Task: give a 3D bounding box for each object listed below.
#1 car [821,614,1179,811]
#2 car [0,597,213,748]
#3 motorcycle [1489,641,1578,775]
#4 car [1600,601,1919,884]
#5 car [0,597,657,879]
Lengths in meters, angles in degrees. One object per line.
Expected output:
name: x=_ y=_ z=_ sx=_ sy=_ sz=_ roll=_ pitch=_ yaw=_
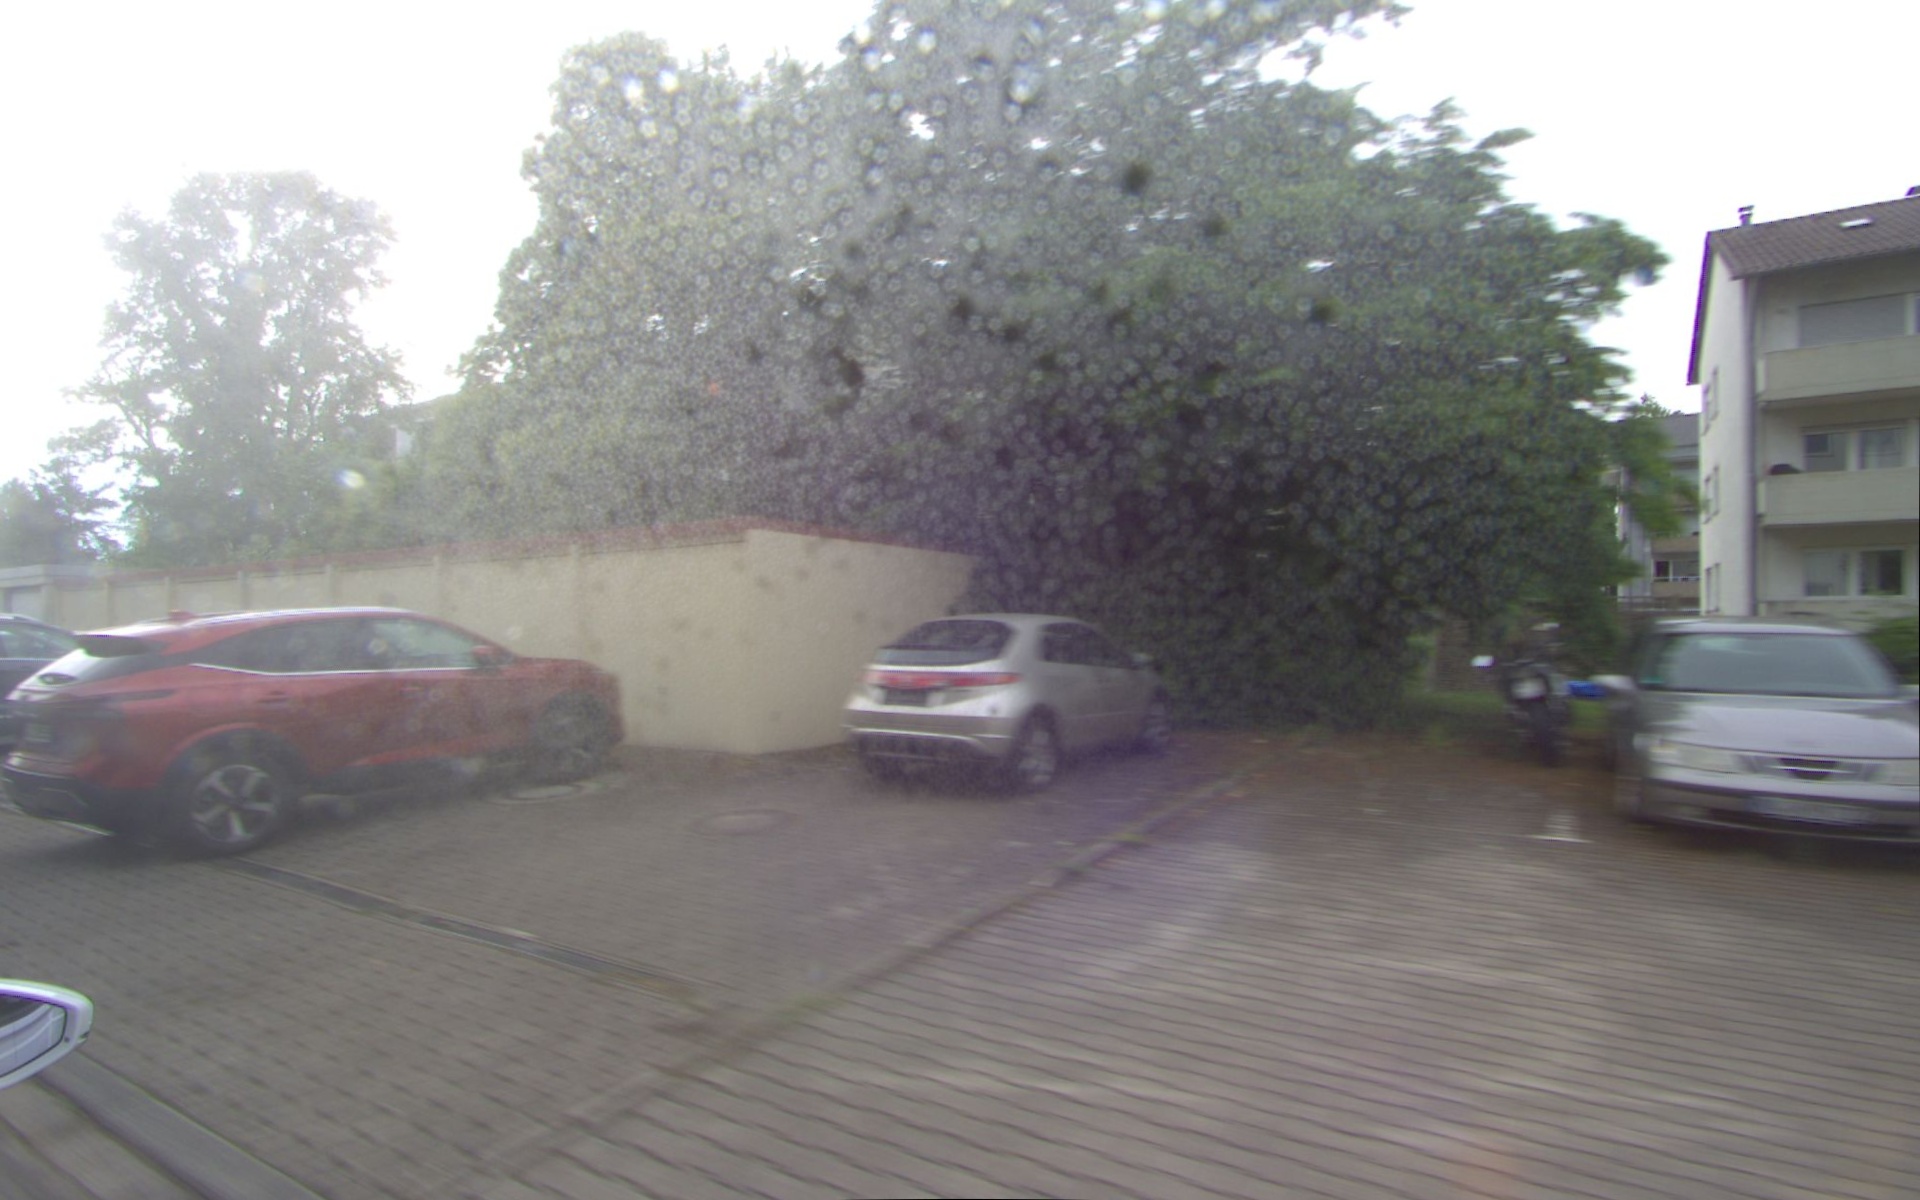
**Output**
car: x=0.582 y=0.877 z=9.539 sx=1.689 sy=1.466 sz=3.817 roll=-1 pitch=-1 yaw=34
car: x=-12.121 y=0.876 z=12.380 sx=1.971 sy=1.750 sz=4.186 roll=0 pitch=1 yaw=32
motorcycle: x=5.681 y=1.011 z=9.882 sx=0.710 sy=1.138 sz=1.607 roll=0 pitch=0 yaw=32
car: x=6.072 y=0.791 z=7.662 sx=1.839 sy=1.550 sz=4.566 roll=-1 pitch=0 yaw=31
car: x=-4.809 y=0.813 z=8.177 sx=1.907 sy=1.607 sz=4.279 roll=0 pitch=1 yaw=31
